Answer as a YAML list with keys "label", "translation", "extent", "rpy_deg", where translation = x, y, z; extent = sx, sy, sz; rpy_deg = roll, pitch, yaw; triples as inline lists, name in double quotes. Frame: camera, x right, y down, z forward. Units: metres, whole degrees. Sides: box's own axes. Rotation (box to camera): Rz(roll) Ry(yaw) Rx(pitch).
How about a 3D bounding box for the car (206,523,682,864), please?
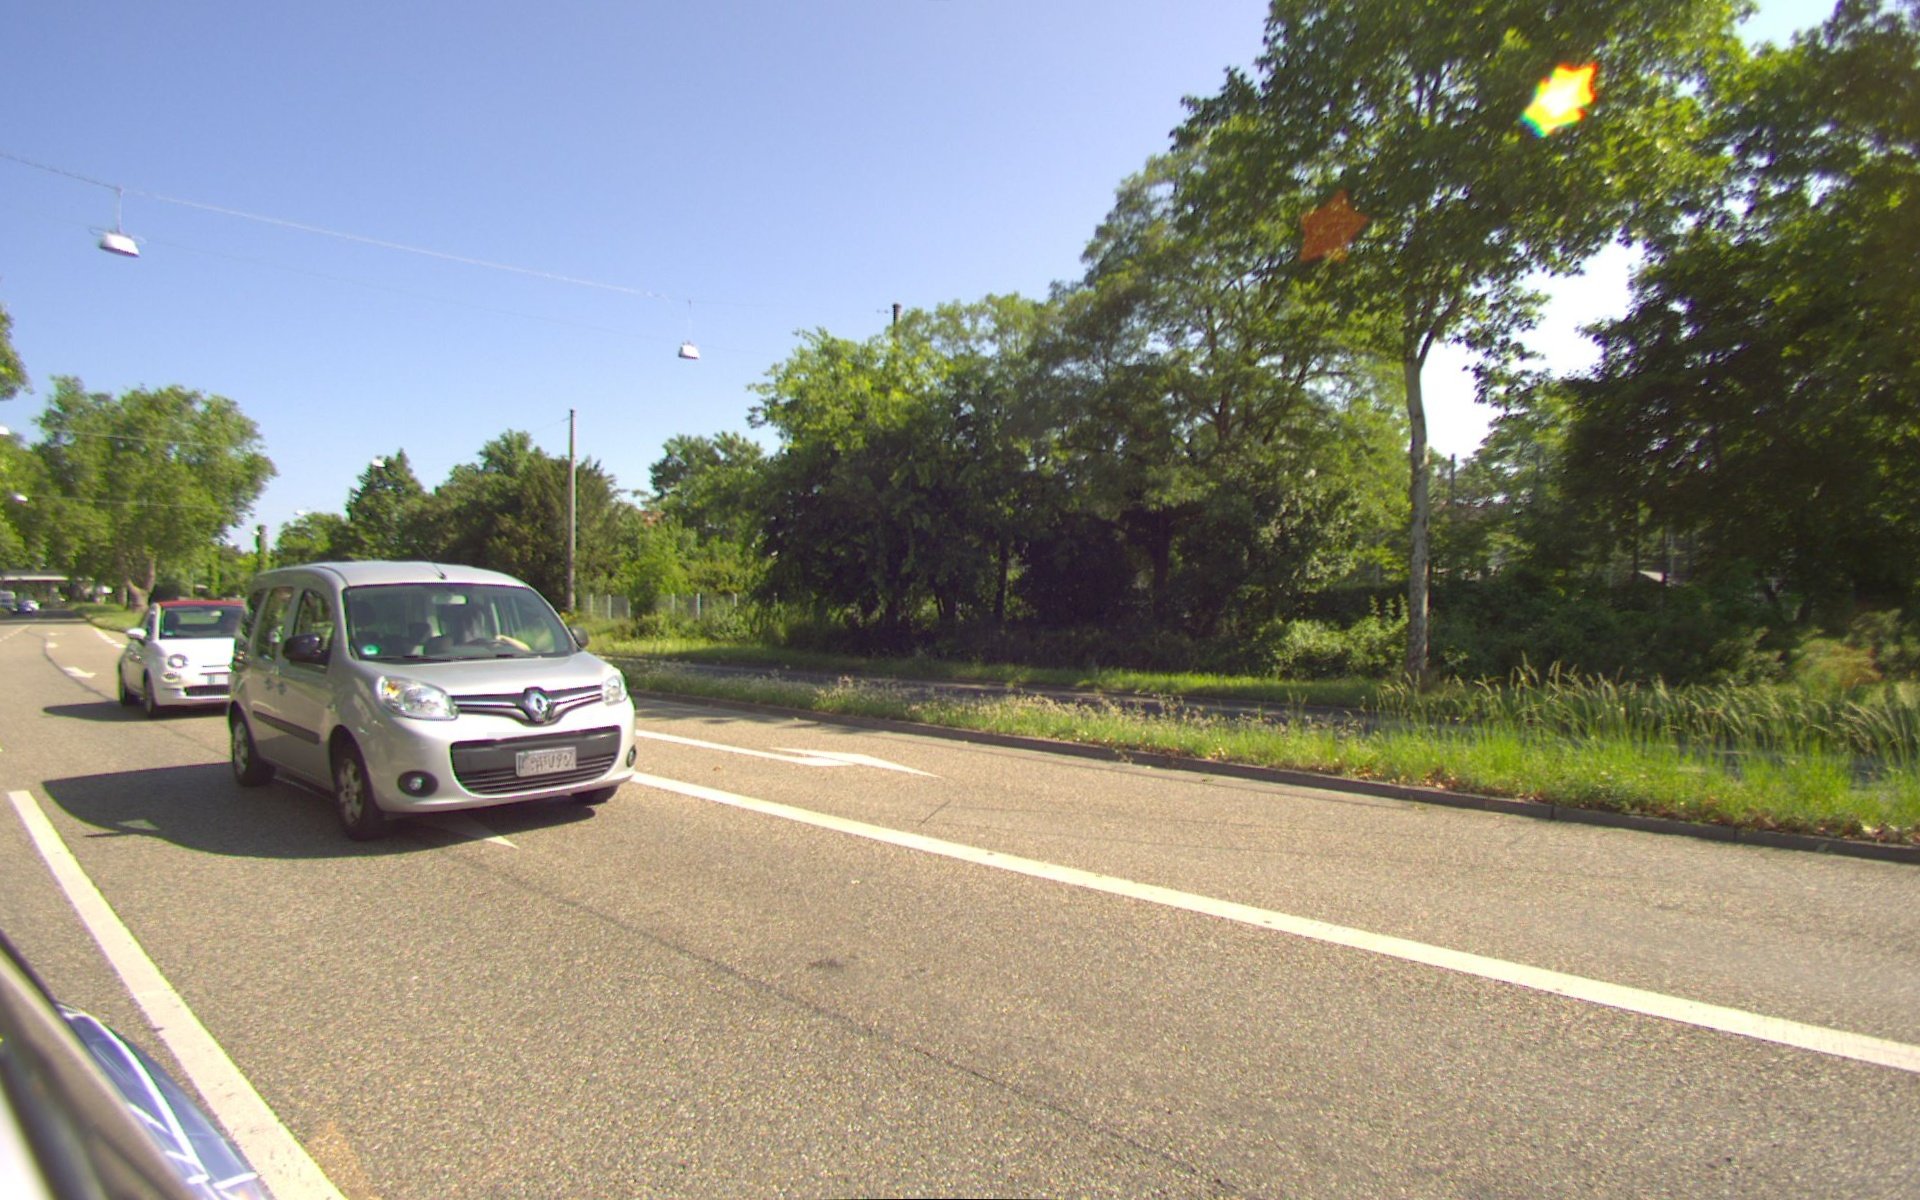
- label: "car"
  translation: [-4.111, 0.526, 7.695]
  extent: [4.375, 1.854, 1.852]
  rpy_deg: [0, -1, 43]

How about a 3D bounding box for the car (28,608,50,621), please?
- label: "car"
  translation: [-143.707, 2.321, 157.948]
  extent: [1.967, 2.029, 4.009]
  rpy_deg: [1, -2, -36]

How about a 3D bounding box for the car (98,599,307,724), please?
- label: "car"
  translation: [-10.836, 0.771, 14.360]
  extent: [4.376, 1.502, 1.666]
  rpy_deg: [0, -1, 44]
